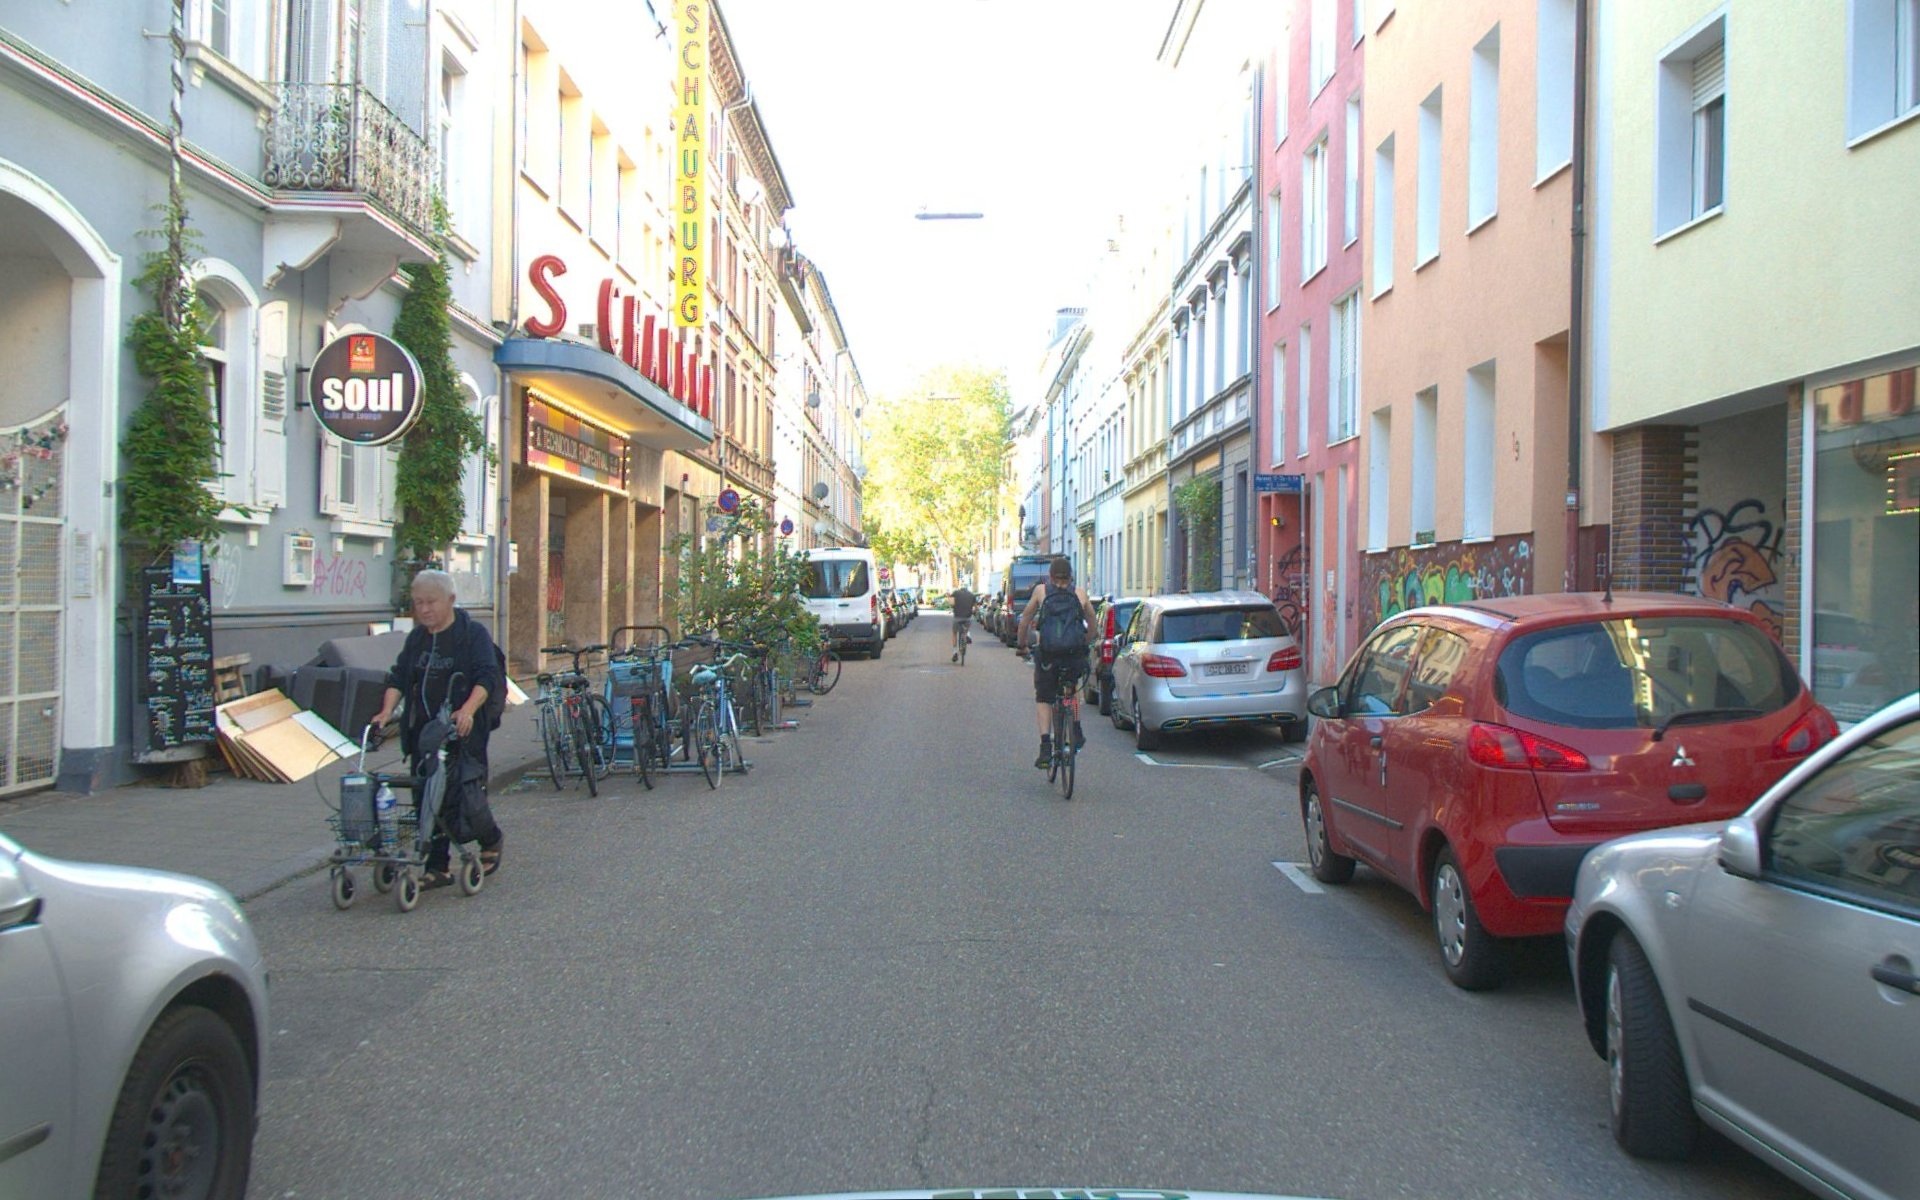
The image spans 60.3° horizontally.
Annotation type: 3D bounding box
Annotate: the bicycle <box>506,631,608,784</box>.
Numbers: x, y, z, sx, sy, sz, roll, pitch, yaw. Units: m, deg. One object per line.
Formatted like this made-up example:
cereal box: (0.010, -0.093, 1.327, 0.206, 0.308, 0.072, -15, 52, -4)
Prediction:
bicycle: (-3.293, 0.845, 13.613, 0.434, 1.125, 1.697, 1, 0, -1)

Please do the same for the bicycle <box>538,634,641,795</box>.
bicycle: (-2.897, 0.857, 13.063, 0.434, 1.125, 1.873, 1, 0, -2)

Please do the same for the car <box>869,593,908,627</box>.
car: (-3.157, 0.411, 73.409, 1.559, 1.465, 3.653, 0, 0, 0)

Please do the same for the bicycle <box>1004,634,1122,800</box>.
bicycle: (0.771, 0.867, 12.960, 0.725, 1.120, 2.041, 2, 0, -1)

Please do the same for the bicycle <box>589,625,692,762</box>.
bicycle: (-2.928, 0.840, 15.229, 0.796, 1.195, 0.920, 1, 0, -3)

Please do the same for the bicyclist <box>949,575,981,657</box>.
bicyclist: (0.100, 0.322, 34.490, 0.656, 1.687, 0.877, 0, 0, -1)

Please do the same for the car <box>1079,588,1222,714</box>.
car: (2.584, 0.656, 23.122, 1.569, 1.566, 3.450, -2, 0, 0)

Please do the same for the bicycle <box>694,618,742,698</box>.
bicycle: (-3.410, 0.806, 23.347, 0.562, 1.063, 1.408, 1, 0, -5)

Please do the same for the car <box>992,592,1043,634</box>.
car: (2.110, 0.458, 61.627, 1.711, 1.511, 4.242, 0, 0, -1)

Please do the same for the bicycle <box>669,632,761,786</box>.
bicycle: (-1.984, 0.852, 13.553, 0.489, 1.125, 1.829, 1, 0, -1)

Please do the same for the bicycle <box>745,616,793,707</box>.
bicycle: (-2.528, 0.799, 22.017, 0.535, 1.113, 1.880, 2, 0, -4)

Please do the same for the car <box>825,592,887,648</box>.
car: (-2.868, 0.523, 46.125, 1.612, 1.472, 3.838, 0, 0, -2)

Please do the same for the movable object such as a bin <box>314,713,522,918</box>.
movable object such as a bin: (-2.634, 1.039, 8.100, 0.828, 0.913, 0.585, 2, 0, -5)

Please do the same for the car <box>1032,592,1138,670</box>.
car: (2.585, 0.600, 35.184, 1.750, 1.479, 4.546, -3, 0, -1)

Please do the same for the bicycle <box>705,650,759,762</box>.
bicycle: (-2.080, 0.947, 15.149, 0.315, 0.932, 1.290, 0, 0, 0)

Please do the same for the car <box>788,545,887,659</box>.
car: (-2.880, 0.025, 40.070, 2.124, 2.495, 5.919, -1, 0, -2)

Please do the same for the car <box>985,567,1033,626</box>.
car: (2.255, -0.170, 76.907, 2.159, 2.595, 6.037, 0, 0, 1)

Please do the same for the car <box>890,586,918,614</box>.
car: (-3.628, 0.006, 107.975, 1.751, 1.767, 3.875, 0, 0, -1)

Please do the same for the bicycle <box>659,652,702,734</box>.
bicycle: (-3.129, 1.026, 18.579, 0.251, 0.832, 1.299, 1, 0, 0)

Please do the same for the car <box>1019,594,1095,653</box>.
car: (2.536, 0.598, 44.080, 1.712, 1.469, 4.171, 1, 0, -1)

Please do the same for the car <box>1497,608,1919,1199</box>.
car: (2.694, 0.791, 3.439, 1.654, 1.478, 4.192, -1, 0, -2)

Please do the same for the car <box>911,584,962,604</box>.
car: (-2.097, -0.552, 147.422, 4.382, 1.790, 1.864, 0, 0, -5)

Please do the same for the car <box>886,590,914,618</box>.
car: (-3.491, 0.209, 95.775, 1.514, 1.578, 3.462, 0, 0, -4)

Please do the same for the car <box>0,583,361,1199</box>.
car: (-2.449, 0.729, 2.223, 1.646, 1.480, 4.035, -1, 0, 3)

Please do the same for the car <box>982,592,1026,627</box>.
car: (1.876, 0.406, 71.594, 1.690, 1.454, 3.831, 0, 0, -2)

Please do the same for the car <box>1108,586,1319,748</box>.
car: (2.674, 0.645, 18.308, 1.710, 1.583, 4.171, 0, 0, 0)

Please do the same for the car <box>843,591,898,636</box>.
car: (-3.076, 0.435, 57.411, 1.824, 1.465, 4.643, 0, 1, -3)

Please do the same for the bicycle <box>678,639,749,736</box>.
bicycle: (-2.672, 0.930, 18.034, 0.542, 0.960, 1.571, 0, 0, 0)

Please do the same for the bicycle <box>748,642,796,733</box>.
bicycle: (-2.081, 0.954, 18.395, 0.382, 0.932, 1.393, 0, 0, 0)

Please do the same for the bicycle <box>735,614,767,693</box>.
bicycle: (-3.353, 0.845, 26.570, 0.391, 1.194, 1.668, 2, 0, -5)

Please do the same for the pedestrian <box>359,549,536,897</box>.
pedestrian: (-2.667, 0.620, 8.669, 0.699, 1.737, 0.671, 2, 0, -4)

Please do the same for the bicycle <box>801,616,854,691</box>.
bicycle: (-2.062, 0.811, 25.556, 0.453, 1.066, 1.742, 2, 0, -16)

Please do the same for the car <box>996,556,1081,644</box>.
car: (2.301, -0.021, 50.307, 2.131, 2.468, 6.308, -1, 0, -1)

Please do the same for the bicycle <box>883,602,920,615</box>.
bicycle: (-4.165, 0.576, 117.453, 2.661, 0.907, 0.618, 0, 0, -4)

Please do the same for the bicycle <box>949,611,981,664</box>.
bicycle: (0.090, 0.769, 34.642, 0.650, 1.055, 1.958, 0, 0, -1)

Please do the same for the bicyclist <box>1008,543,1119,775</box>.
bicyclist: (0.790, 0.435, 12.883, 0.725, 1.708, 1.116, 2, 0, -1)

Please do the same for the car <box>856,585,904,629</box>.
car: (-3.285, 0.269, 68.428, 1.764, 1.728, 3.999, -2, 0, -1)

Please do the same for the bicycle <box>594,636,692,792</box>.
bicycle: (-2.559, 0.885, 13.508, 0.434, 1.125, 1.931, 1, 0, -1)

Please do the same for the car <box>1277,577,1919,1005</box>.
car: (2.766, 0.692, 8.099, 1.662, 1.549, 3.980, -1, 0, 0)

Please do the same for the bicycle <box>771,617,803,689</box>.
bicycle: (-2.778, 0.828, 26.608, 0.433, 1.066, 1.863, 2, 0, -4)
